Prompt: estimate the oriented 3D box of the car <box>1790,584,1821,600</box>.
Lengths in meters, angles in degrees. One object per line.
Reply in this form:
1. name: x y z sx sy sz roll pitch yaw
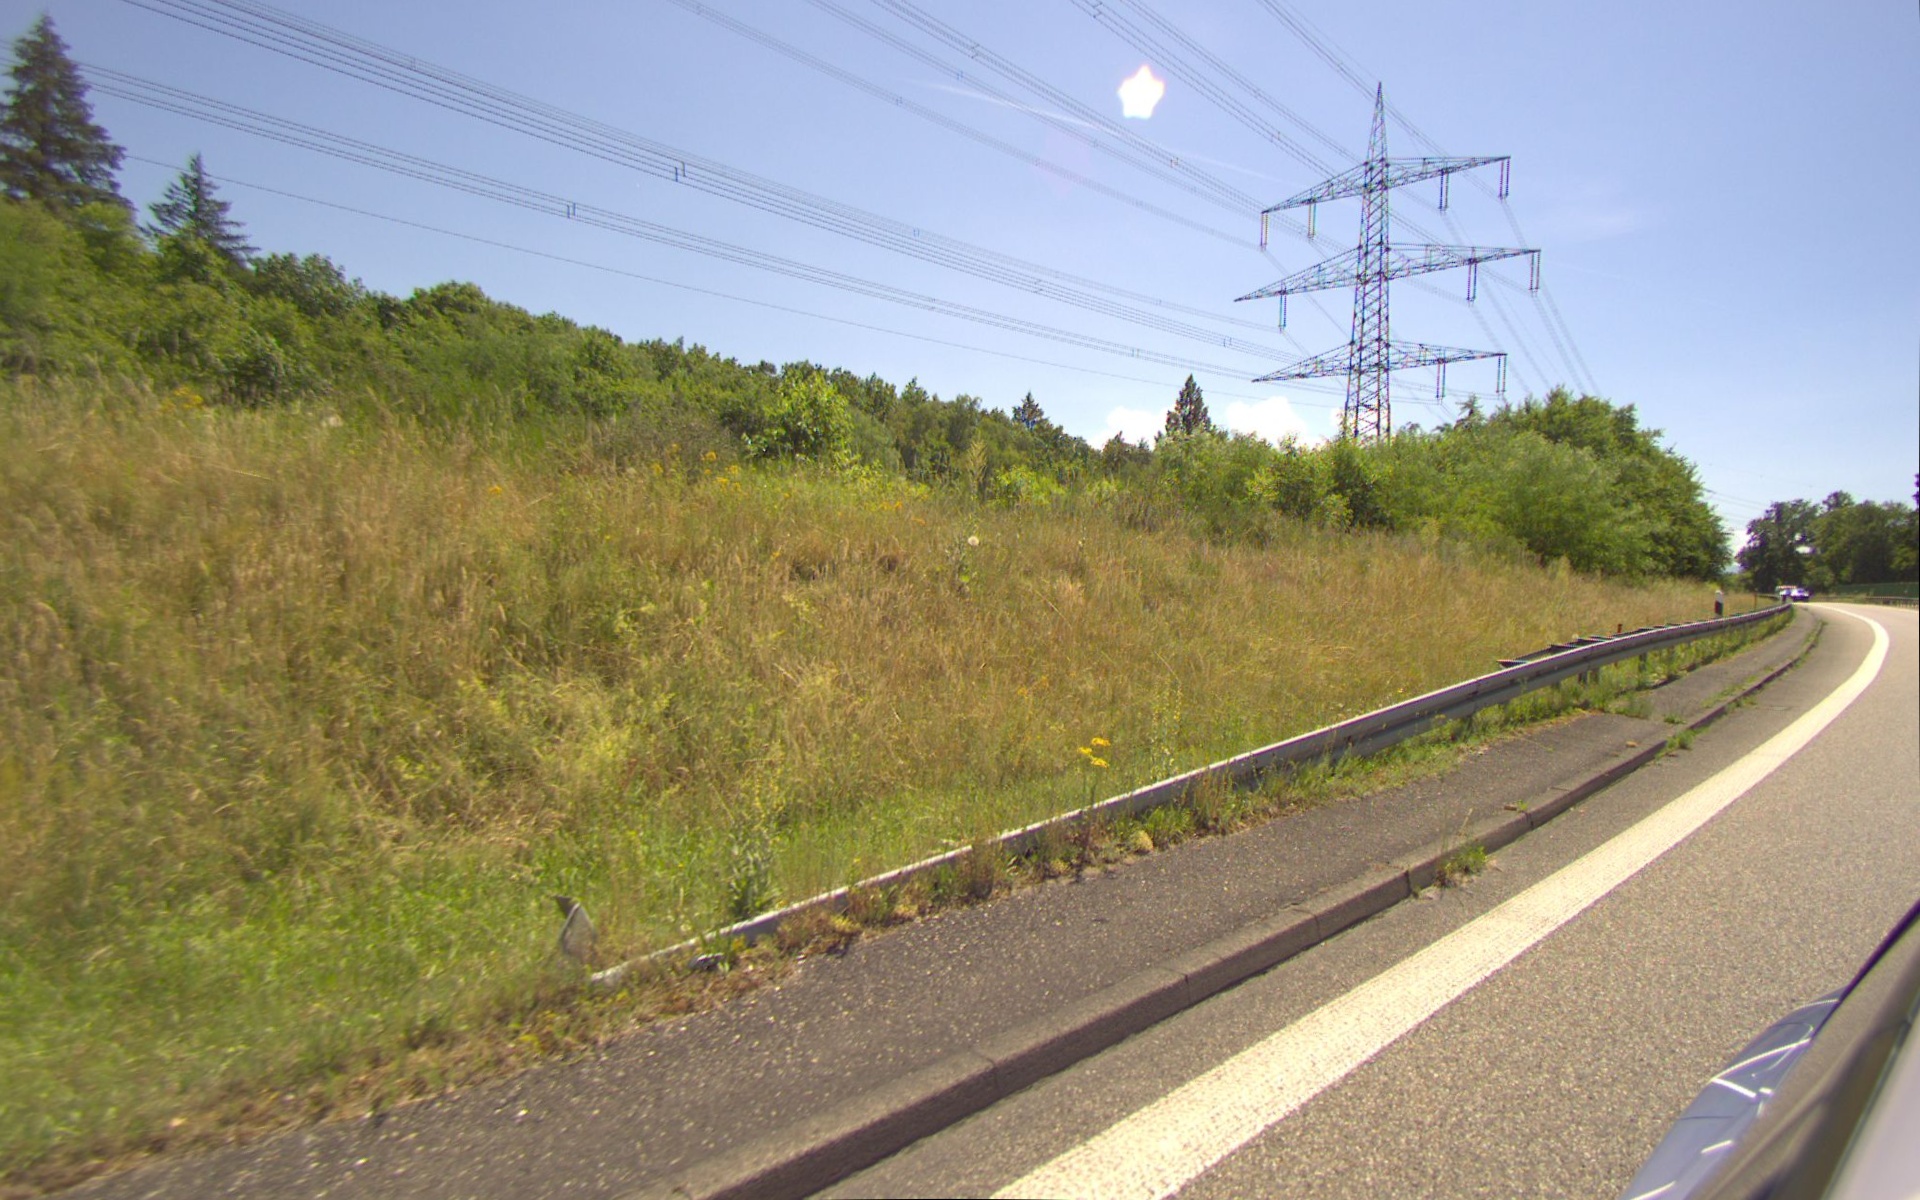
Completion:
1. car: 94.547 -0.912 113.147 1.983 1.705 3.957 1 0 30
